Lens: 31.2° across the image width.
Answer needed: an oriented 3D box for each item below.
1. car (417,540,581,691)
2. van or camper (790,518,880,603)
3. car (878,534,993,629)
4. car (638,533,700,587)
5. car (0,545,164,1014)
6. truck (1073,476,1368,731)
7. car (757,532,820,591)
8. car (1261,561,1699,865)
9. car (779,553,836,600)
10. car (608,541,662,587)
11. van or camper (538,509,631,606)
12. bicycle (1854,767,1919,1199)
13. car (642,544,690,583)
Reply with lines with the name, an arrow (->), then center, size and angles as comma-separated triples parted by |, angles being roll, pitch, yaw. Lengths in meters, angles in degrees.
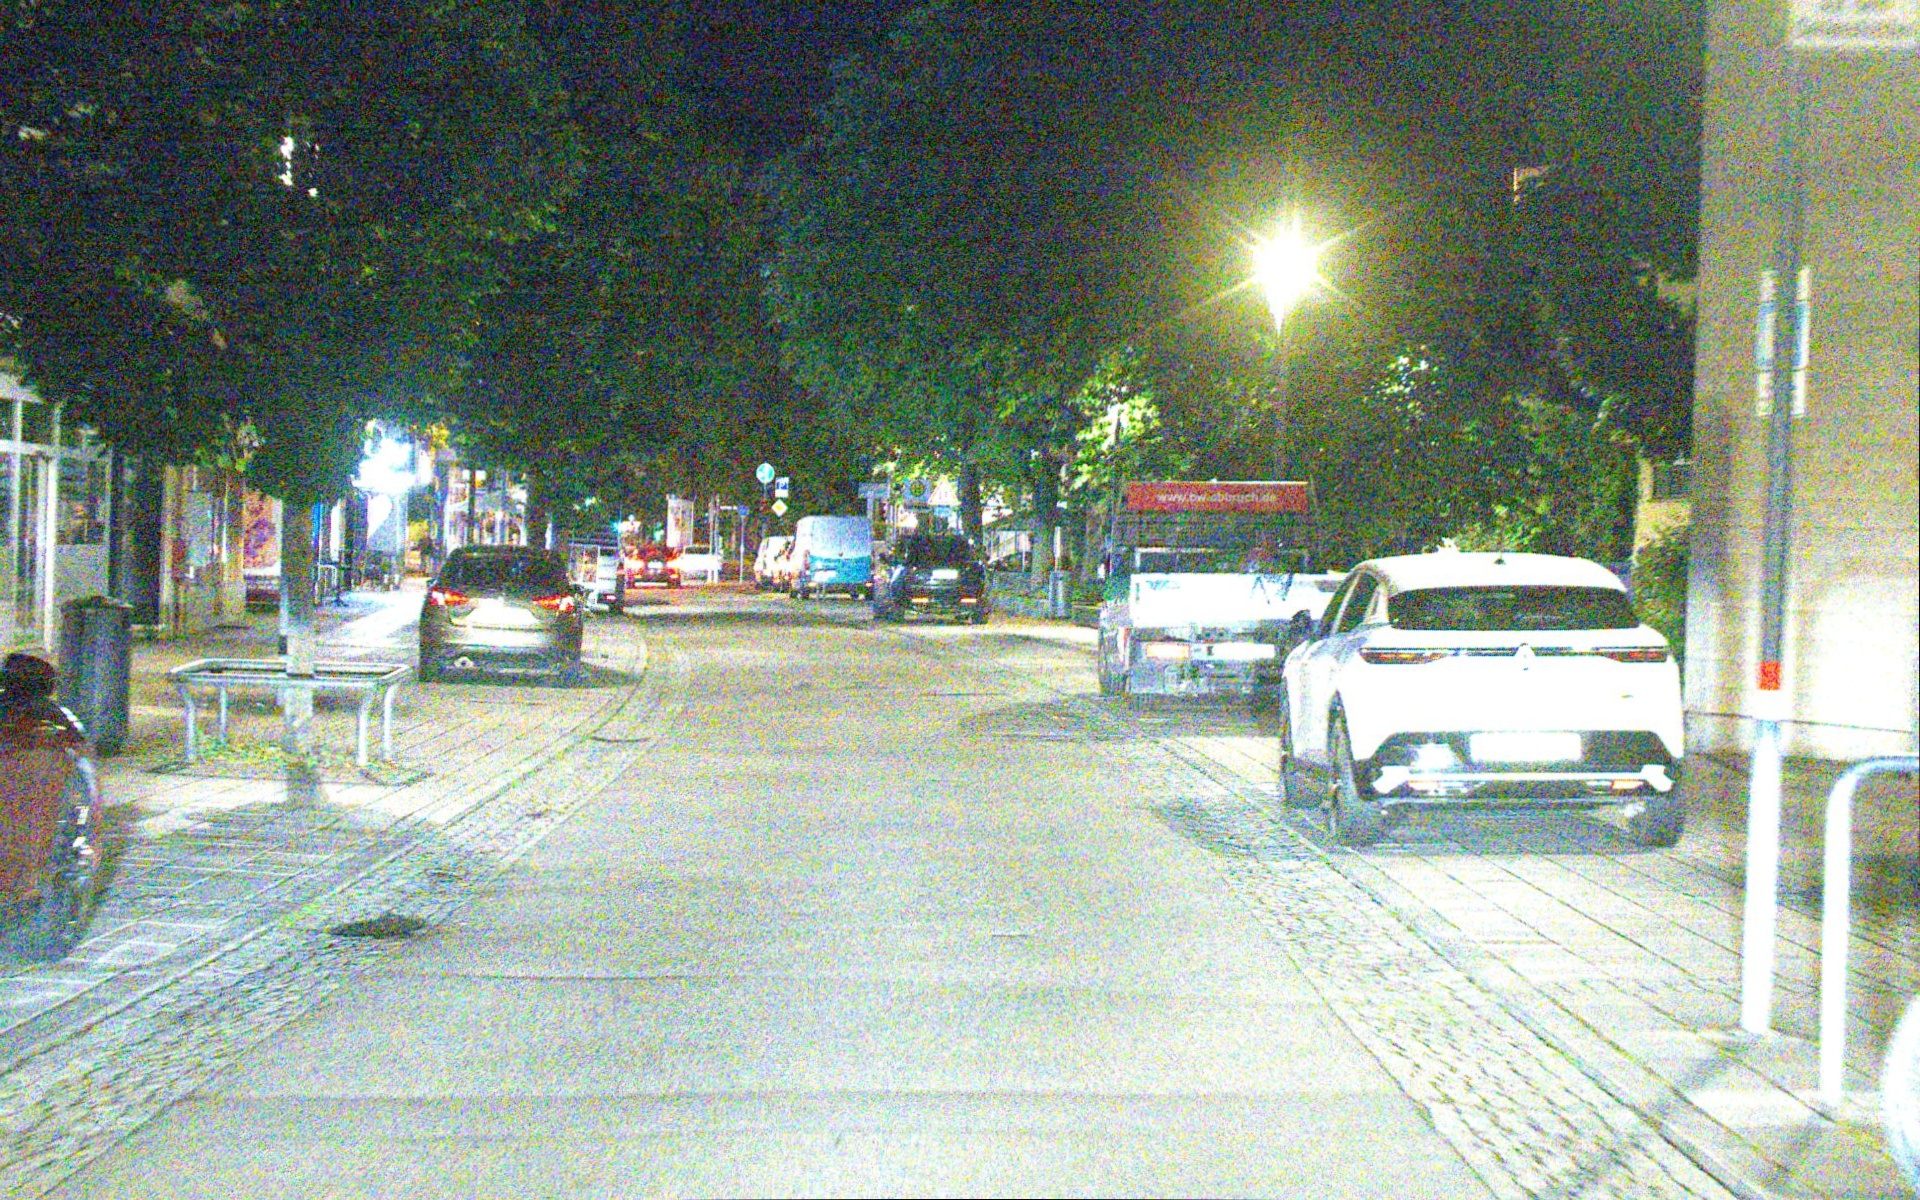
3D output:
car -> -5.146, 0.135, 38.649 | 1.673, 1.538, 4.231 | 2, 1, -7
van or camper -> -3.498, -1.117, 95.624 | 2.108, 2.309, 4.263 | 0, 1, -8
car -> -0.538, -0.396, 69.692 | 1.814, 1.822, 4.348 | 1, 1, -7
car -> -10.215, -1.396, 120.380 | 1.993, 1.817, 4.001 | 1, 1, -7
car -> -4.051, 0.533, 10.678 | 2.019, 1.483, 5.008 | 4, 1, -2
truck -> 2.483, -0.007, 34.351 | 2.336, 2.304, 5.781 | 1, 1, -1
car -> -5.715, -1.281, 114.400 | 1.839, 1.894, 3.846 | 1, 1, -6
car -> 2.727, 0.533, 18.892 | 1.789, 1.486, 4.059 | 0, 1, 0
car -> -4.809, -0.758, 108.331 | 1.531, 1.413, 3.846 | 1, 1, -6
car -> -12.696, -1.403, 134.151 | 1.993, 1.697, 4.001 | 1, 1, -6
van or camper -> -8.362, -0.947, 76.306 | 1.866, 2.004, 4.263 | 3, 1, -8
bicycle -> 2.845, 0.910, 7.380 | 1.754, 1.058, 0.346 | 1, 1, -3
car -> -12.112, -1.495, 141.569 | 1.839, 1.537, 3.846 | 1, 1, -6
